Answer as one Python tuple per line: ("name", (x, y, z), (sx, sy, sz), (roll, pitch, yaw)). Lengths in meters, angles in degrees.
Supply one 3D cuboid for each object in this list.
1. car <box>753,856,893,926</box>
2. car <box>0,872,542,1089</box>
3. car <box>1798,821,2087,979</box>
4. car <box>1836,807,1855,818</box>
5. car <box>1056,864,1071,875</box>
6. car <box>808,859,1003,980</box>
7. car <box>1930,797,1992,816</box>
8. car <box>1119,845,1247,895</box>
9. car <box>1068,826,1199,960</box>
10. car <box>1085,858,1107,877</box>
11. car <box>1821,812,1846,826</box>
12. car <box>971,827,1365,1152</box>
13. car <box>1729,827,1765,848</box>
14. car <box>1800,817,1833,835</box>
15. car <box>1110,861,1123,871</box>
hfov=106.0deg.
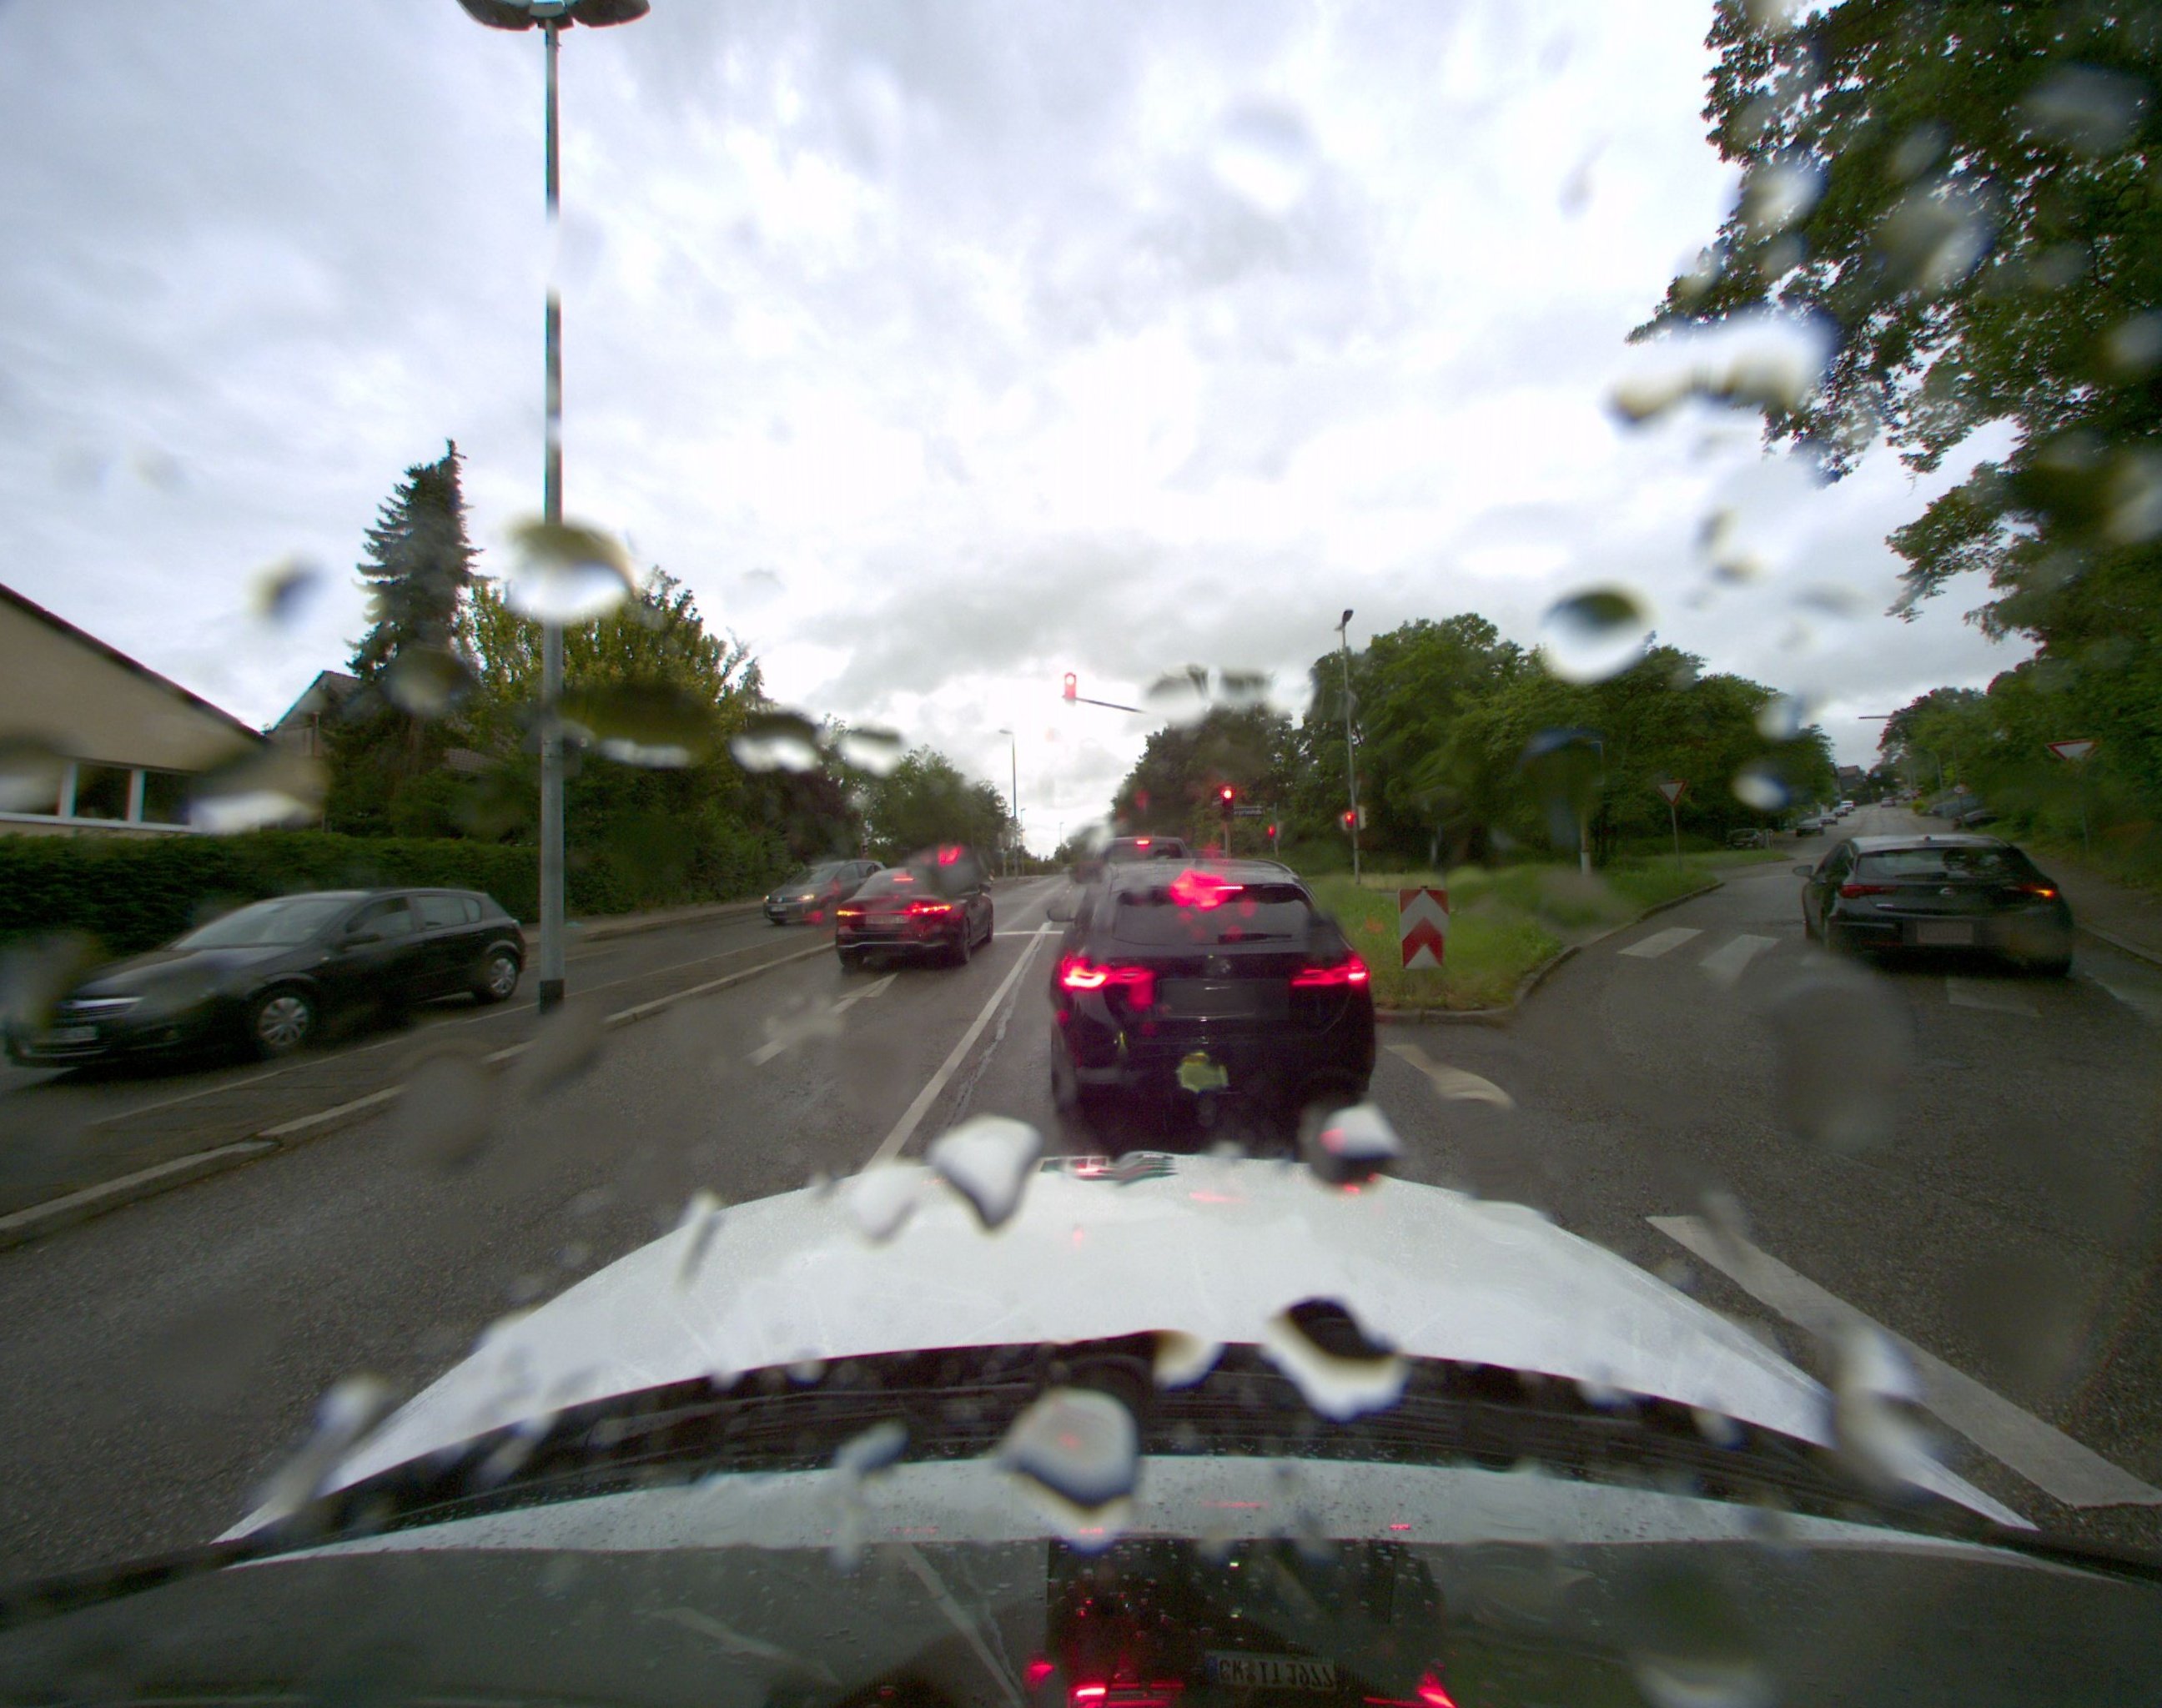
("car", (-6.855, 0.926, 22.130), (1.730, 1.602, 4.046), (-3, 0, 13))
("car", (-7.820, 1.027, 8.252), (1.888, 1.509, 4.002), (-3, 0, 2))
("car", (9.995, 0.408, 9.817), (1.794, 1.443, 4.189), (-4, 0, 39))
("car", (114.509, -6.227, 122.018), (1.880, 1.397, 4.193), (-2, -1, 40))
("car", (-3.289, 2.925, 154.145), (1.982, 1.826, 4.009), (-4, -1, 8))
("car", (-2.599, 0.918, 13.229), (1.986, 1.527, 4.330), (-4, -1, 2))
("car", (87.617, -4.703, 81.142), (3.949, 1.574, 1.785), (-4, -1, 42))
("car", (4.147, 0.633, 33.153), (4.715, 1.717, 1.988), (-3, 0, -18))
("car", (0.819, 0.572, 13.451), (1.811, 1.868, 3.954), (-1, -1, 2))
("car", (1.237, 1.107, 67.457), (1.692, 1.427, 3.513), (-4, -1, 0))
("car", (88.211, -4.062, 95.498), (1.971, 1.446, 4.321), (-2, -1, 40))
("car", (0.623, 0.703, 6.268), (1.889, 1.551, 4.621), (-1, -1, 5))
("car", (46.018, -1.146, 56.260), (1.655, 1.370, 3.512), (-3, 0, 43))
("car", (66.275, -2.534, 73.373), (4.318, 1.450, 1.881), (0, -1, -44))
("car", (6.768, 2.296, 153.966), (1.983, 1.624, 3.960), (-4, -1, 7))
